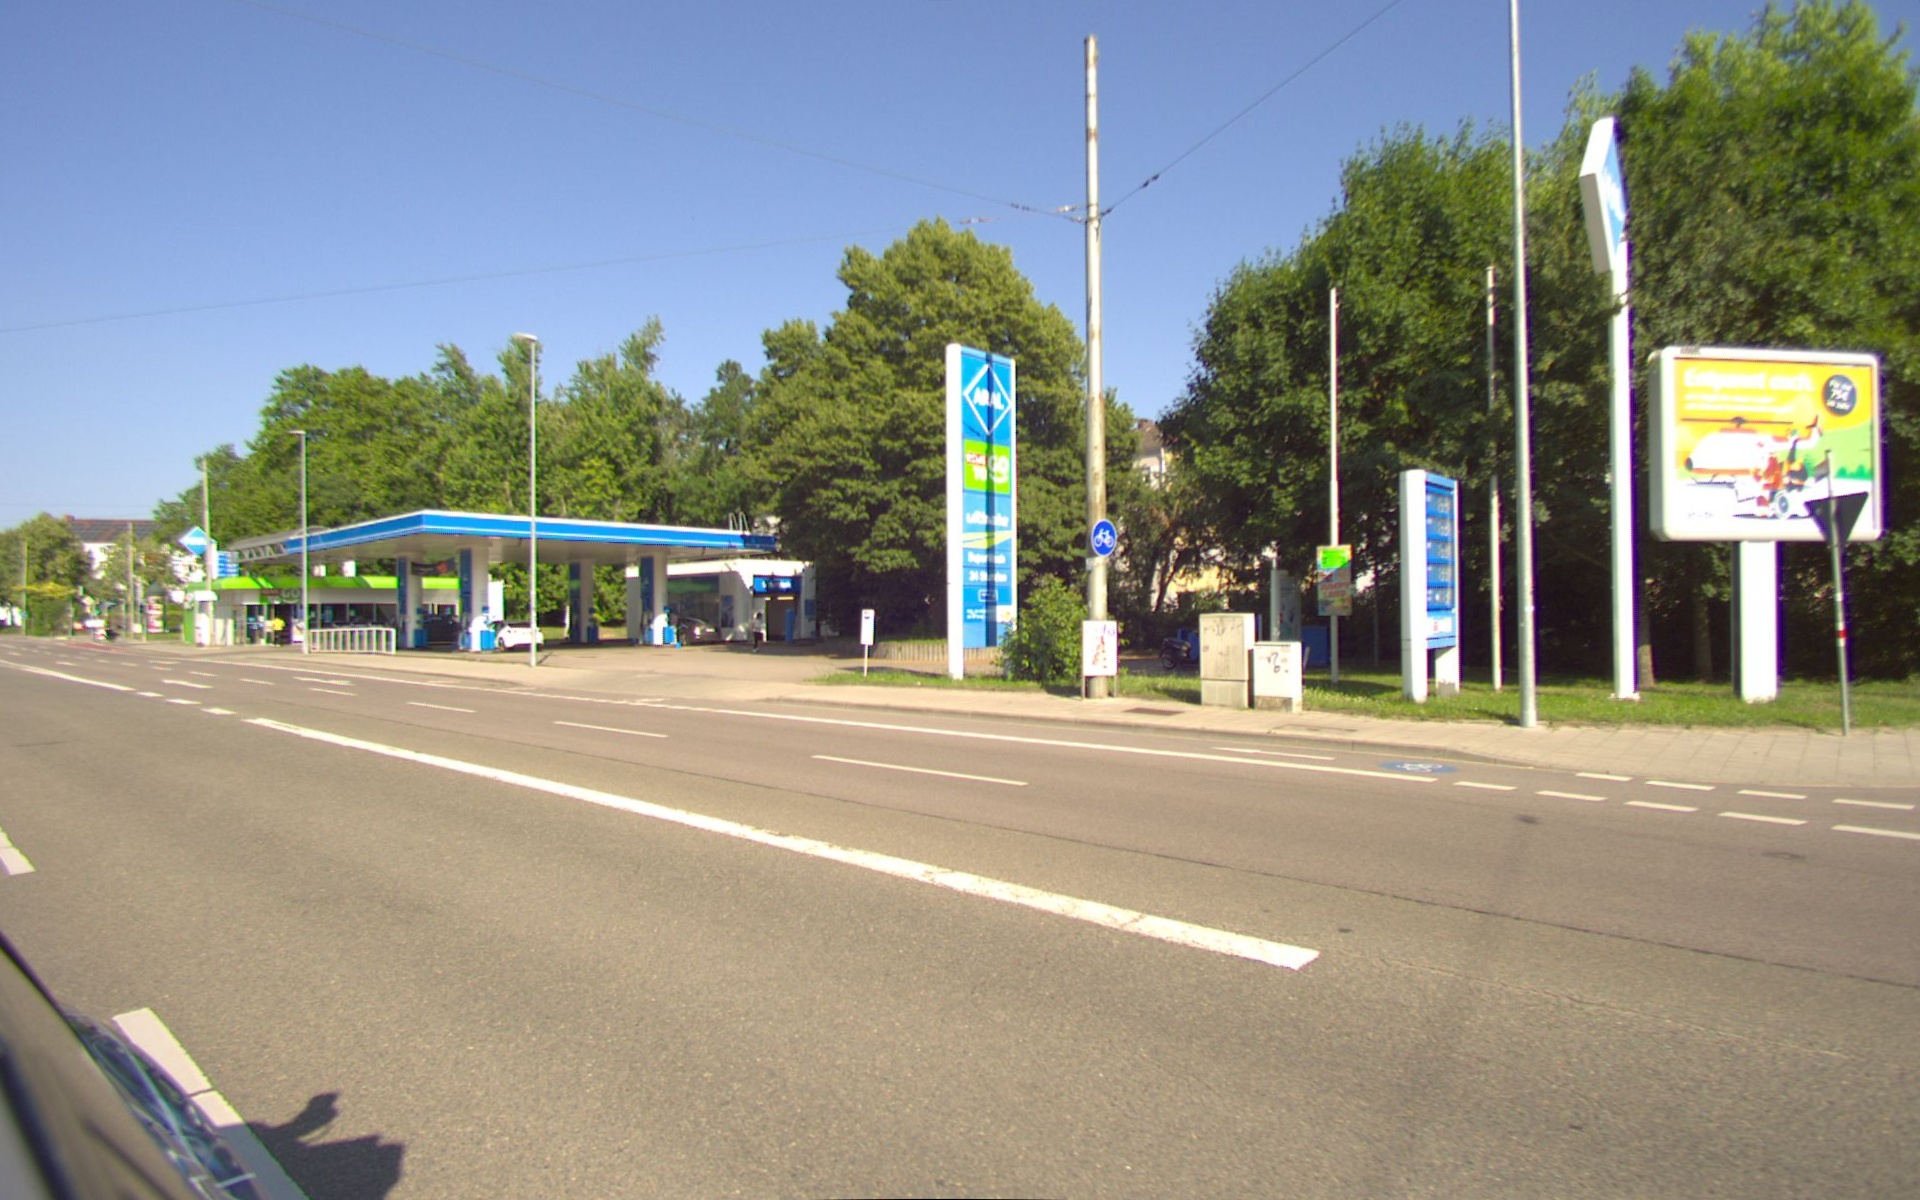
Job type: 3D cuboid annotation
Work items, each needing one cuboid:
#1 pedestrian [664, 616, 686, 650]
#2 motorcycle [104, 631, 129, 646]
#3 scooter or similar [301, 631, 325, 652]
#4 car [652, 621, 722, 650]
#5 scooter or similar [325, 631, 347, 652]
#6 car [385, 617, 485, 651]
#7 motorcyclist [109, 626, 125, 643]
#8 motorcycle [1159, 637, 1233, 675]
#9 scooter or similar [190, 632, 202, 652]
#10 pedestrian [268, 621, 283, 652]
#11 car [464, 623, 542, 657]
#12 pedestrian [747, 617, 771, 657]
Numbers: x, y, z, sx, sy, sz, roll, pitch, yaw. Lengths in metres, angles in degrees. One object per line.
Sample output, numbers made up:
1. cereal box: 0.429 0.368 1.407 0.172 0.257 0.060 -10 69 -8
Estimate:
1. pedestrian: -14.600 1.696 51.864 0.795 1.703 0.807 -2 -2 41
2. motorcycle: -69.163 3.164 83.000 0.722 1.237 2.270 0 -2 -15
3. scooter or similar: -36.094 2.324 56.453 1.127 1.125 0.351 1 -2 -40
4. car: -14.297 1.823 52.921 4.001 1.457 1.717 -2 -2 44
5. scooter or similar: -35.300 2.338 57.225 1.016 1.118 0.351 1 -2 -42
6. car: -31.326 1.995 60.491 5.012 1.955 1.858 1 -2 -45
7. motorcyclist: -69.181 2.798 83.049 0.722 1.399 0.867 0 -2 -15
8. motorcycle: 6.299 1.484 27.098 1.904 0.989 0.512 -2 -2 41
9. scooter or similar: -46.609 2.564 61.727 1.144 1.169 0.345 -2 -2 43
10. pedestrian: -38.933 2.090 57.599 0.594 1.744 0.665 0 -2 -25
11. car: -21.067 1.821 46.564 4.274 1.502 1.718 -2 -2 42
12. pedestrian: -8.831 1.623 44.463 0.810 1.726 1.070 0 -2 -26
